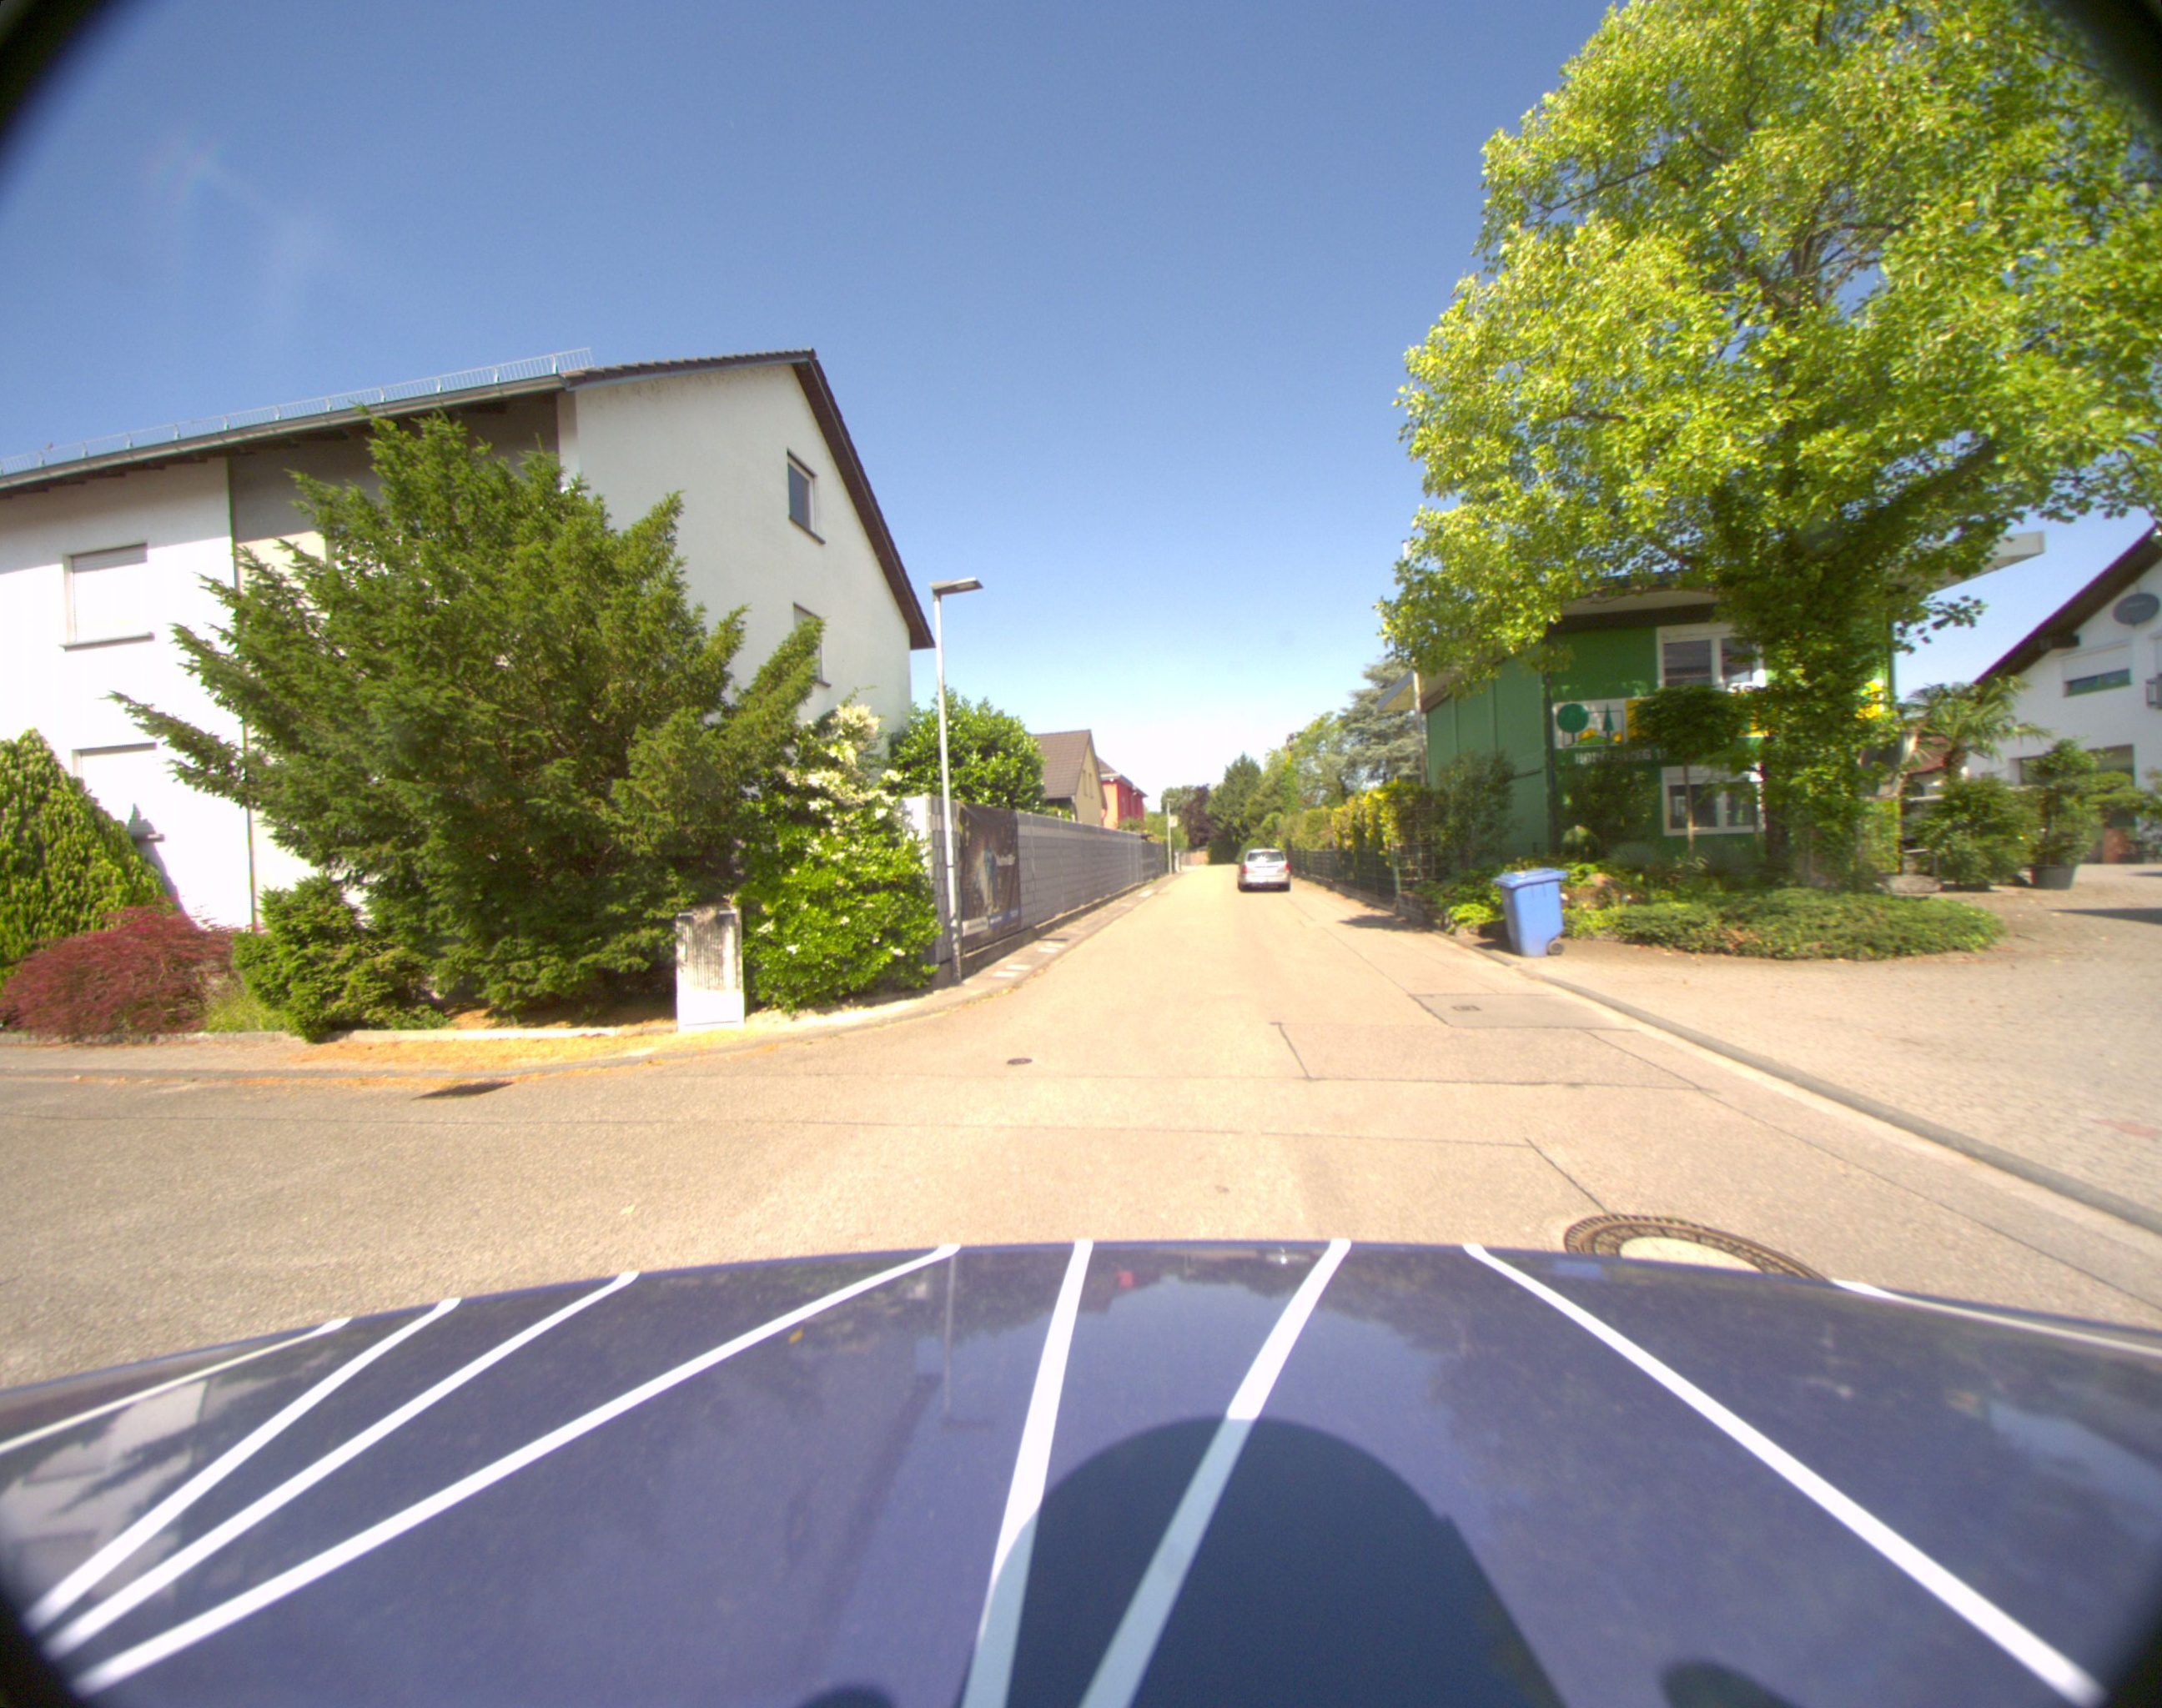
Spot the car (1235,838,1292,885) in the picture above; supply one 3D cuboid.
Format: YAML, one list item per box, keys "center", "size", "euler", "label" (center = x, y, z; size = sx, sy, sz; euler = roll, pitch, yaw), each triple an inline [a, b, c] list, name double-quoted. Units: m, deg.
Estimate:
- center: [6.549, 0.237, 27.652]
  size: [1.755, 1.478, 4.379]
  euler: [-3, 0, 11]
  label: "car"

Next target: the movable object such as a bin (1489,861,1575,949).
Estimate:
- center: [5.748, 0.637, 9.710]
  size: [0.732, 1.048, 0.612]
  euler: [-4, 1, 11]
  label: "movable object such as a bin"

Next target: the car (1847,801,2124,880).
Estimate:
- center: [19.884, -0.323, 17.024]
  size: [1.860, 1.439, 4.002]
  euler: [-4, 1, 11]
  label: "car"
